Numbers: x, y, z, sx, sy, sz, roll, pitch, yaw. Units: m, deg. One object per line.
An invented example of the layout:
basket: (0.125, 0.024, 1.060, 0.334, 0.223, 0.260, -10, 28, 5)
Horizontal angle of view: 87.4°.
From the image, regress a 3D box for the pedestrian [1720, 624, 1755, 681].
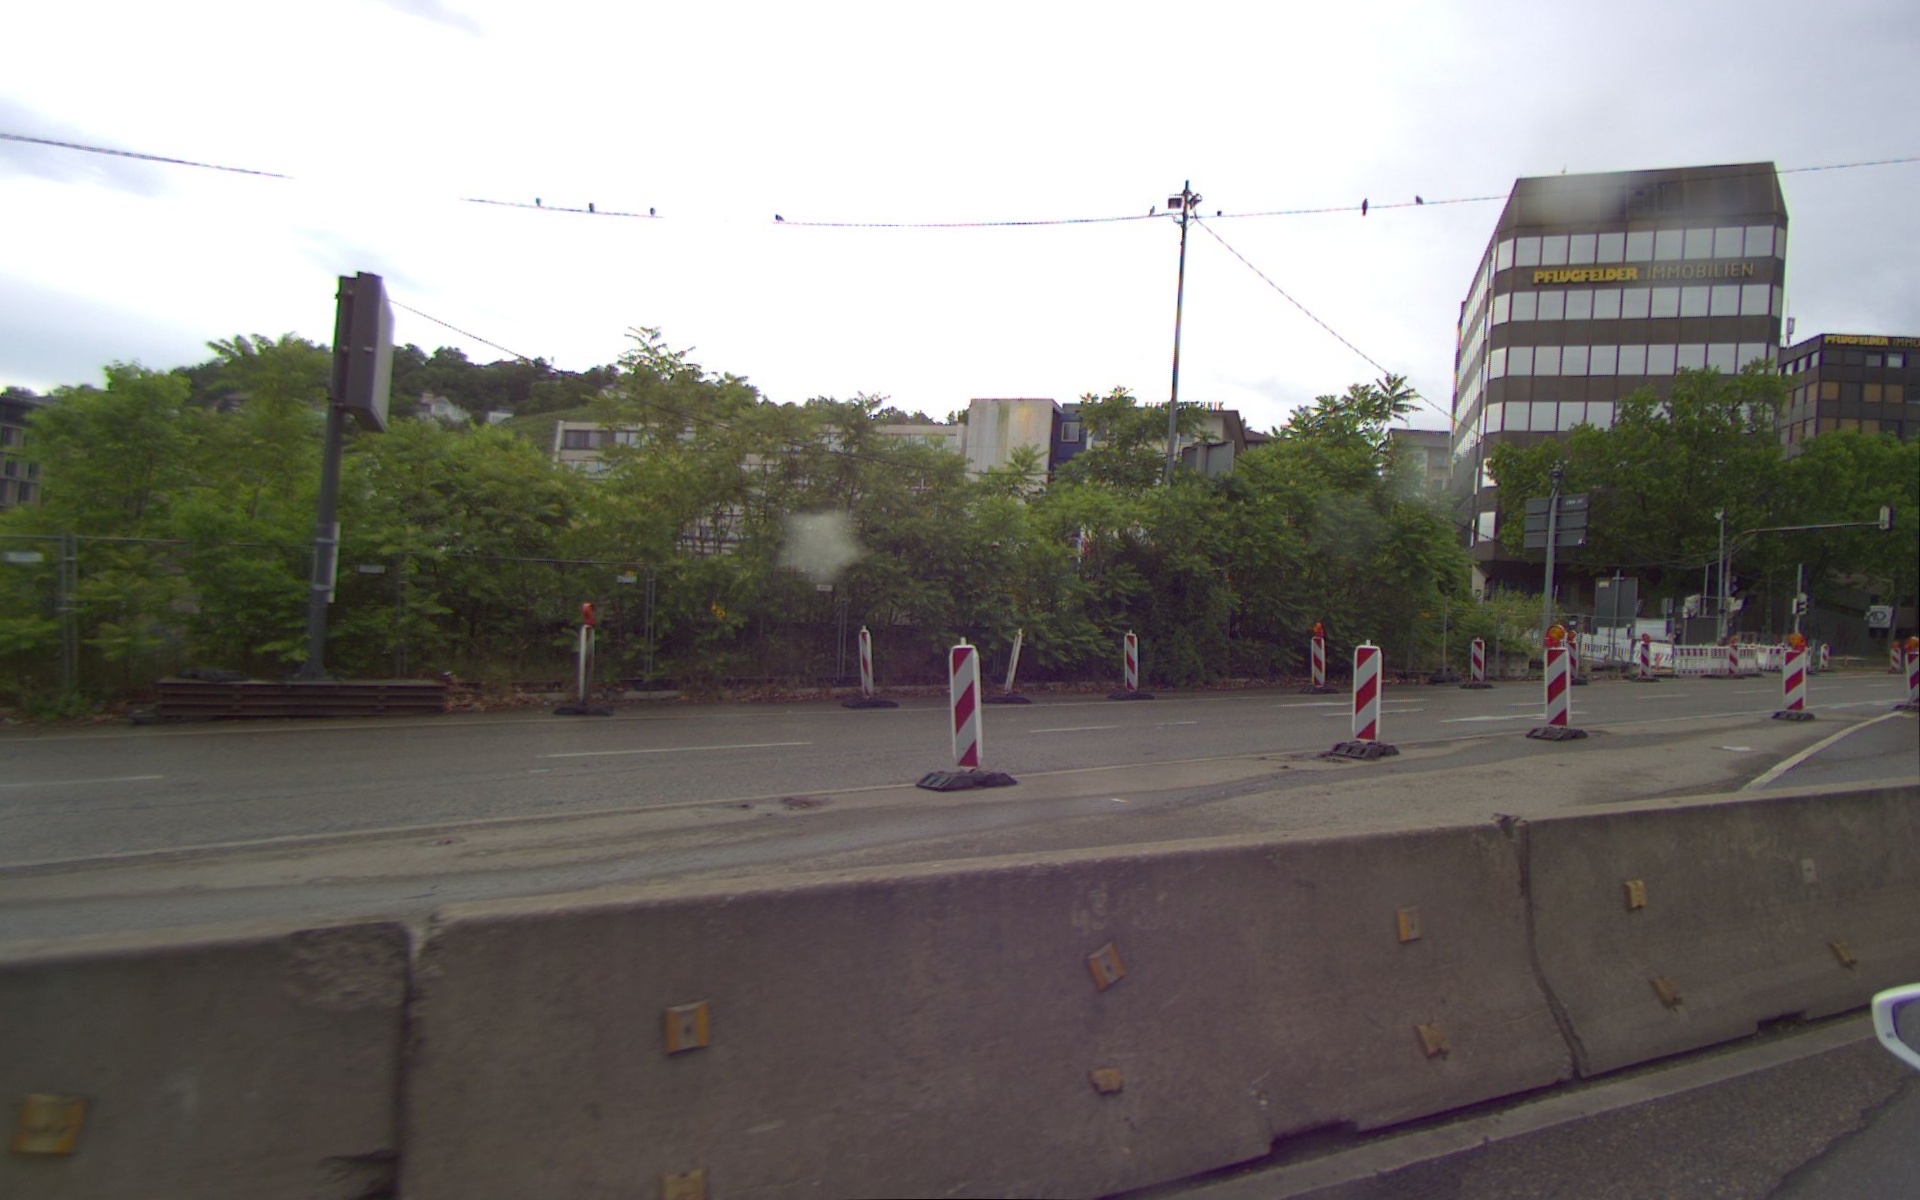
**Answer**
pedestrian: (27.090, 1.839, 34.992, 0.767, 1.926, 0.669, 4, -2, -31)

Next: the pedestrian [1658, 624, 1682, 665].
pedestrian: (33.575, 2.107, 47.527, 0.742, 1.904, 0.733, 5, -2, -43)

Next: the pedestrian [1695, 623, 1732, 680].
pedestrian: (26.736, 1.830, 35.640, 0.734, 1.947, 0.757, 4, -2, -31)
